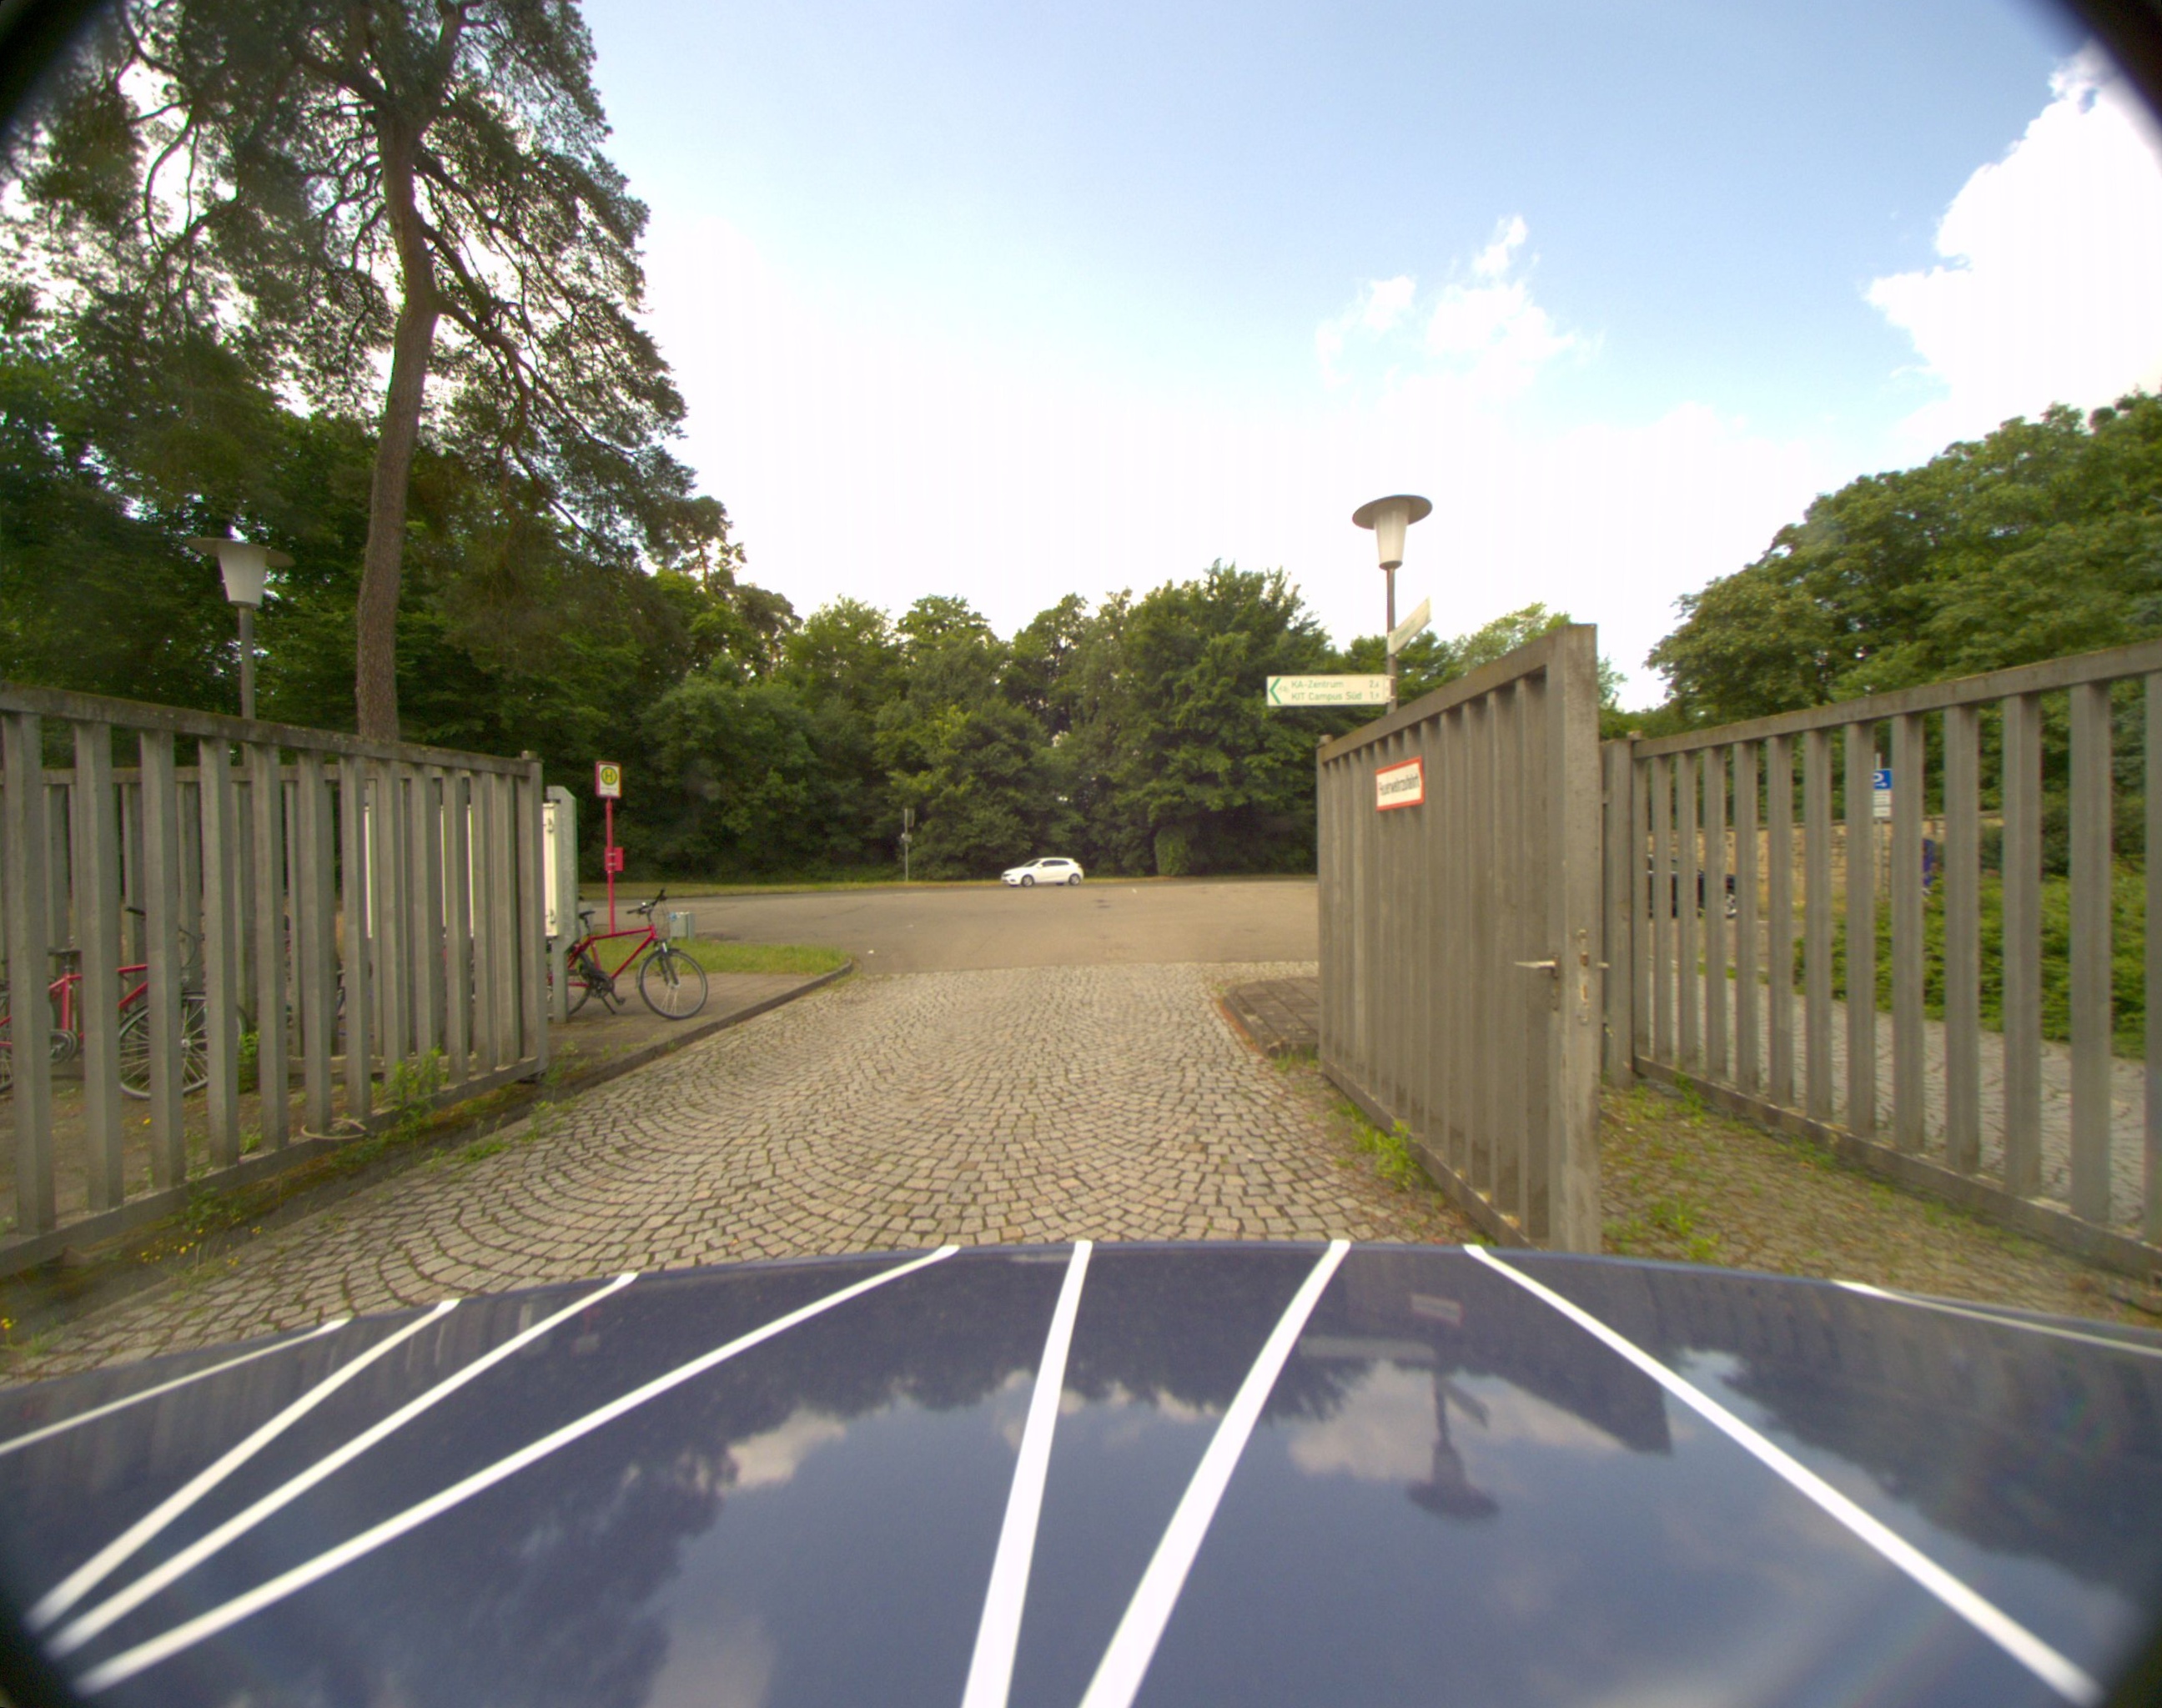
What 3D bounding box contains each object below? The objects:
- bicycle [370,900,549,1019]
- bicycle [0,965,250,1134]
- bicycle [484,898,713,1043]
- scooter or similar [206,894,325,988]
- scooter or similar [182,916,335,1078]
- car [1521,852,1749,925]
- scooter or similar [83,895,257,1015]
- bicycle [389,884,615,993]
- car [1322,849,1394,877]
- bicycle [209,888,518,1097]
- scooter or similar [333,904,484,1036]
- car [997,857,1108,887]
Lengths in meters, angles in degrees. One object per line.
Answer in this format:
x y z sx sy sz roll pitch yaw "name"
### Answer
-6.696 1.103 8.201 1.608 1.155 0.623 0 -1 13 "bicycle"
-6.543 1.232 4.892 1.950 0.962 0.457 -1 1 3 "bicycle"
-4.556 1.082 7.257 1.739 1.270 0.672 1 1 -2 "bicycle"
-11.144 1.186 10.403 1.090 1.221 0.438 1 2 -3 "scooter or similar"
-7.007 1.161 6.537 0.439 1.143 1.249 -1 0 -26 "scooter or similar"
13.129 0.799 18.243 3.996 1.537 1.900 -2 0 4 "car"
-11.091 1.241 9.281 1.251 1.406 0.531 0 -10 3 "scooter or similar"
-6.930 0.996 9.168 2.173 1.233 0.635 0 1 -3 "bicycle"
17.515 0.549 48.106 4.004 1.674 1.996 -1 0 -23 "car"
-5.275 0.977 5.622 1.904 1.409 0.516 0 2 7 "bicycle"
-6.731 1.142 7.620 1.282 1.238 0.386 0 1 8 "scooter or similar"
-1.442 0.887 39.229 5.421 1.370 1.995 -1 0 -30 "car"
